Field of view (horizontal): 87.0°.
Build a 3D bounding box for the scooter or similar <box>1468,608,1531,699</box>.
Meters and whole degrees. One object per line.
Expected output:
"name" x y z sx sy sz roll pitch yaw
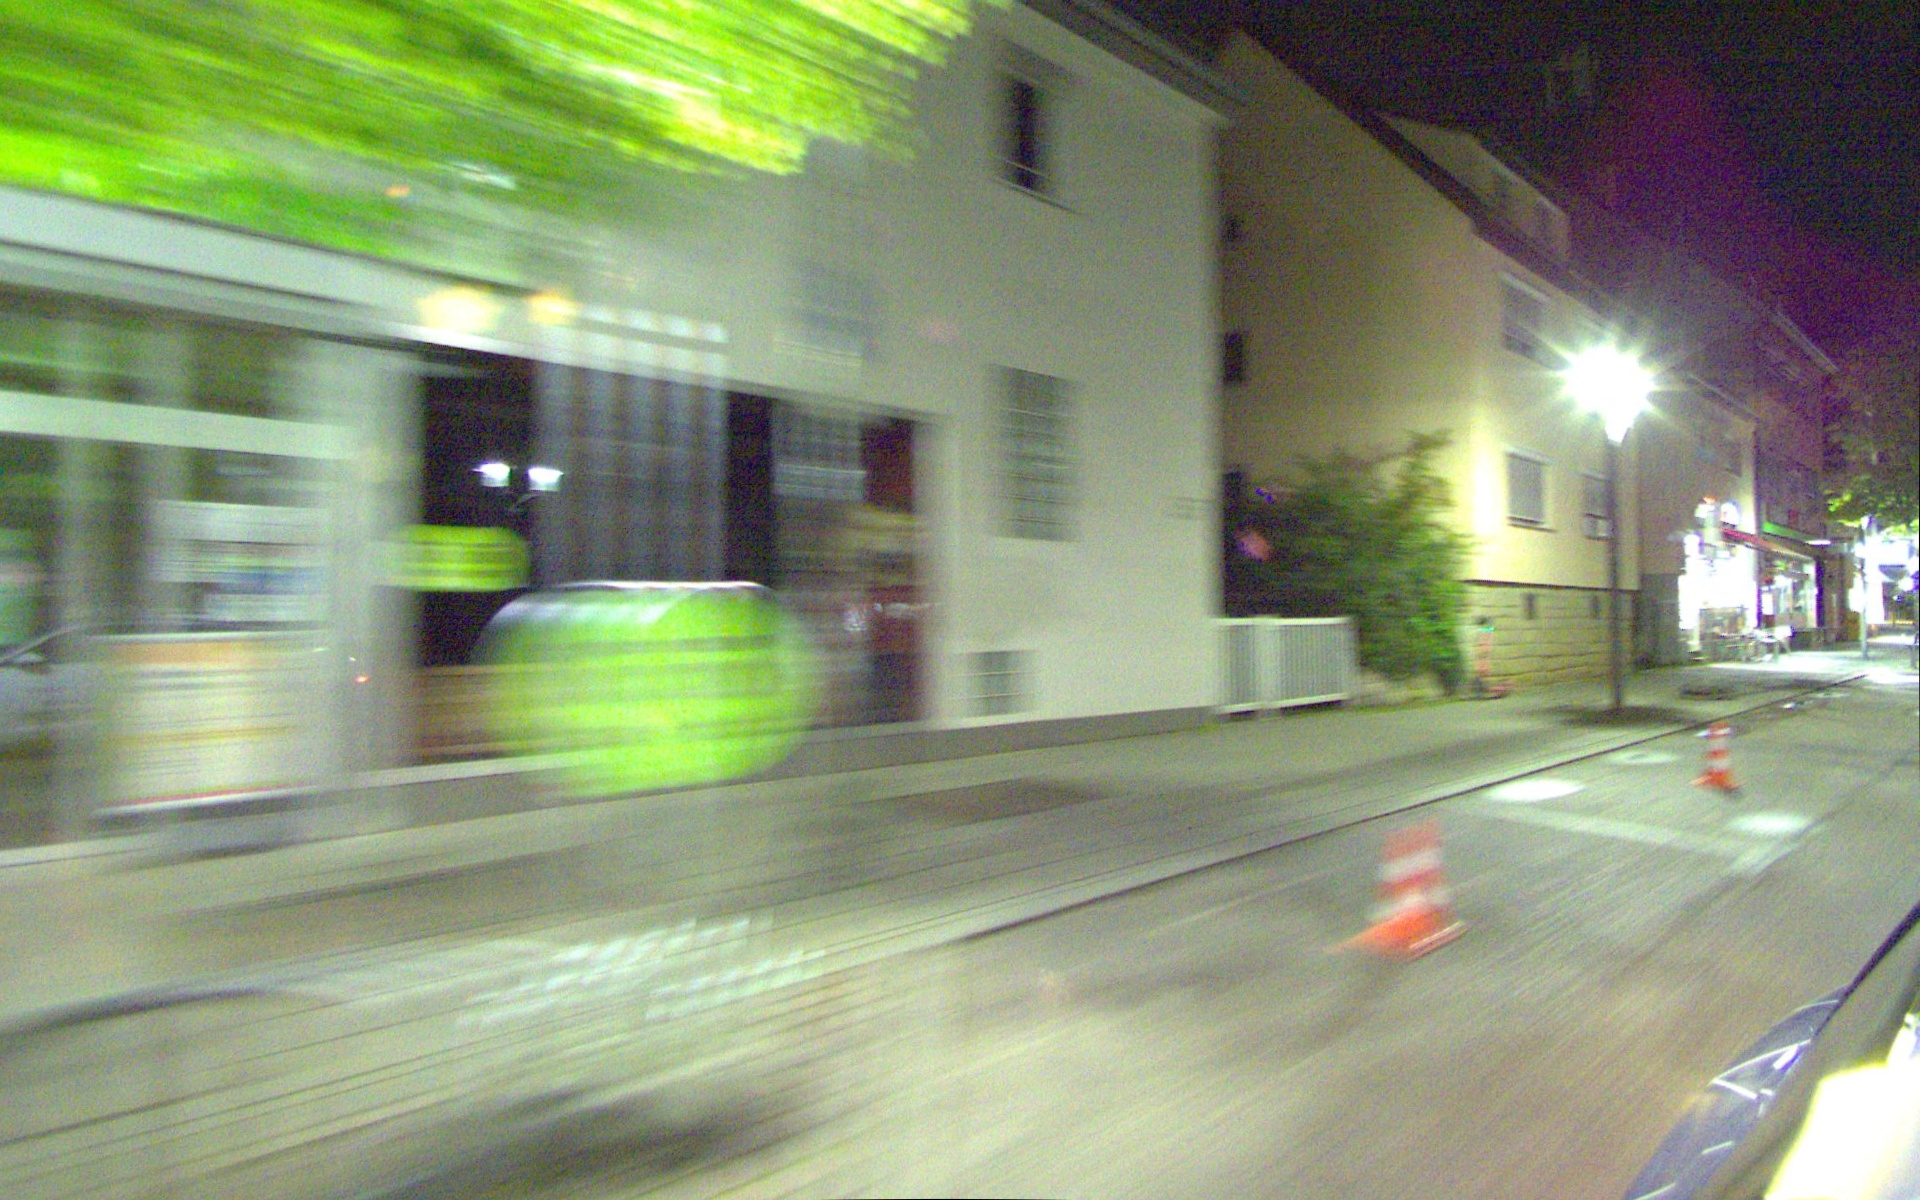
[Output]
"scooter or similar" 8.169 0.781 15.302 1.282 1.293 0.374 -1 0 -40
